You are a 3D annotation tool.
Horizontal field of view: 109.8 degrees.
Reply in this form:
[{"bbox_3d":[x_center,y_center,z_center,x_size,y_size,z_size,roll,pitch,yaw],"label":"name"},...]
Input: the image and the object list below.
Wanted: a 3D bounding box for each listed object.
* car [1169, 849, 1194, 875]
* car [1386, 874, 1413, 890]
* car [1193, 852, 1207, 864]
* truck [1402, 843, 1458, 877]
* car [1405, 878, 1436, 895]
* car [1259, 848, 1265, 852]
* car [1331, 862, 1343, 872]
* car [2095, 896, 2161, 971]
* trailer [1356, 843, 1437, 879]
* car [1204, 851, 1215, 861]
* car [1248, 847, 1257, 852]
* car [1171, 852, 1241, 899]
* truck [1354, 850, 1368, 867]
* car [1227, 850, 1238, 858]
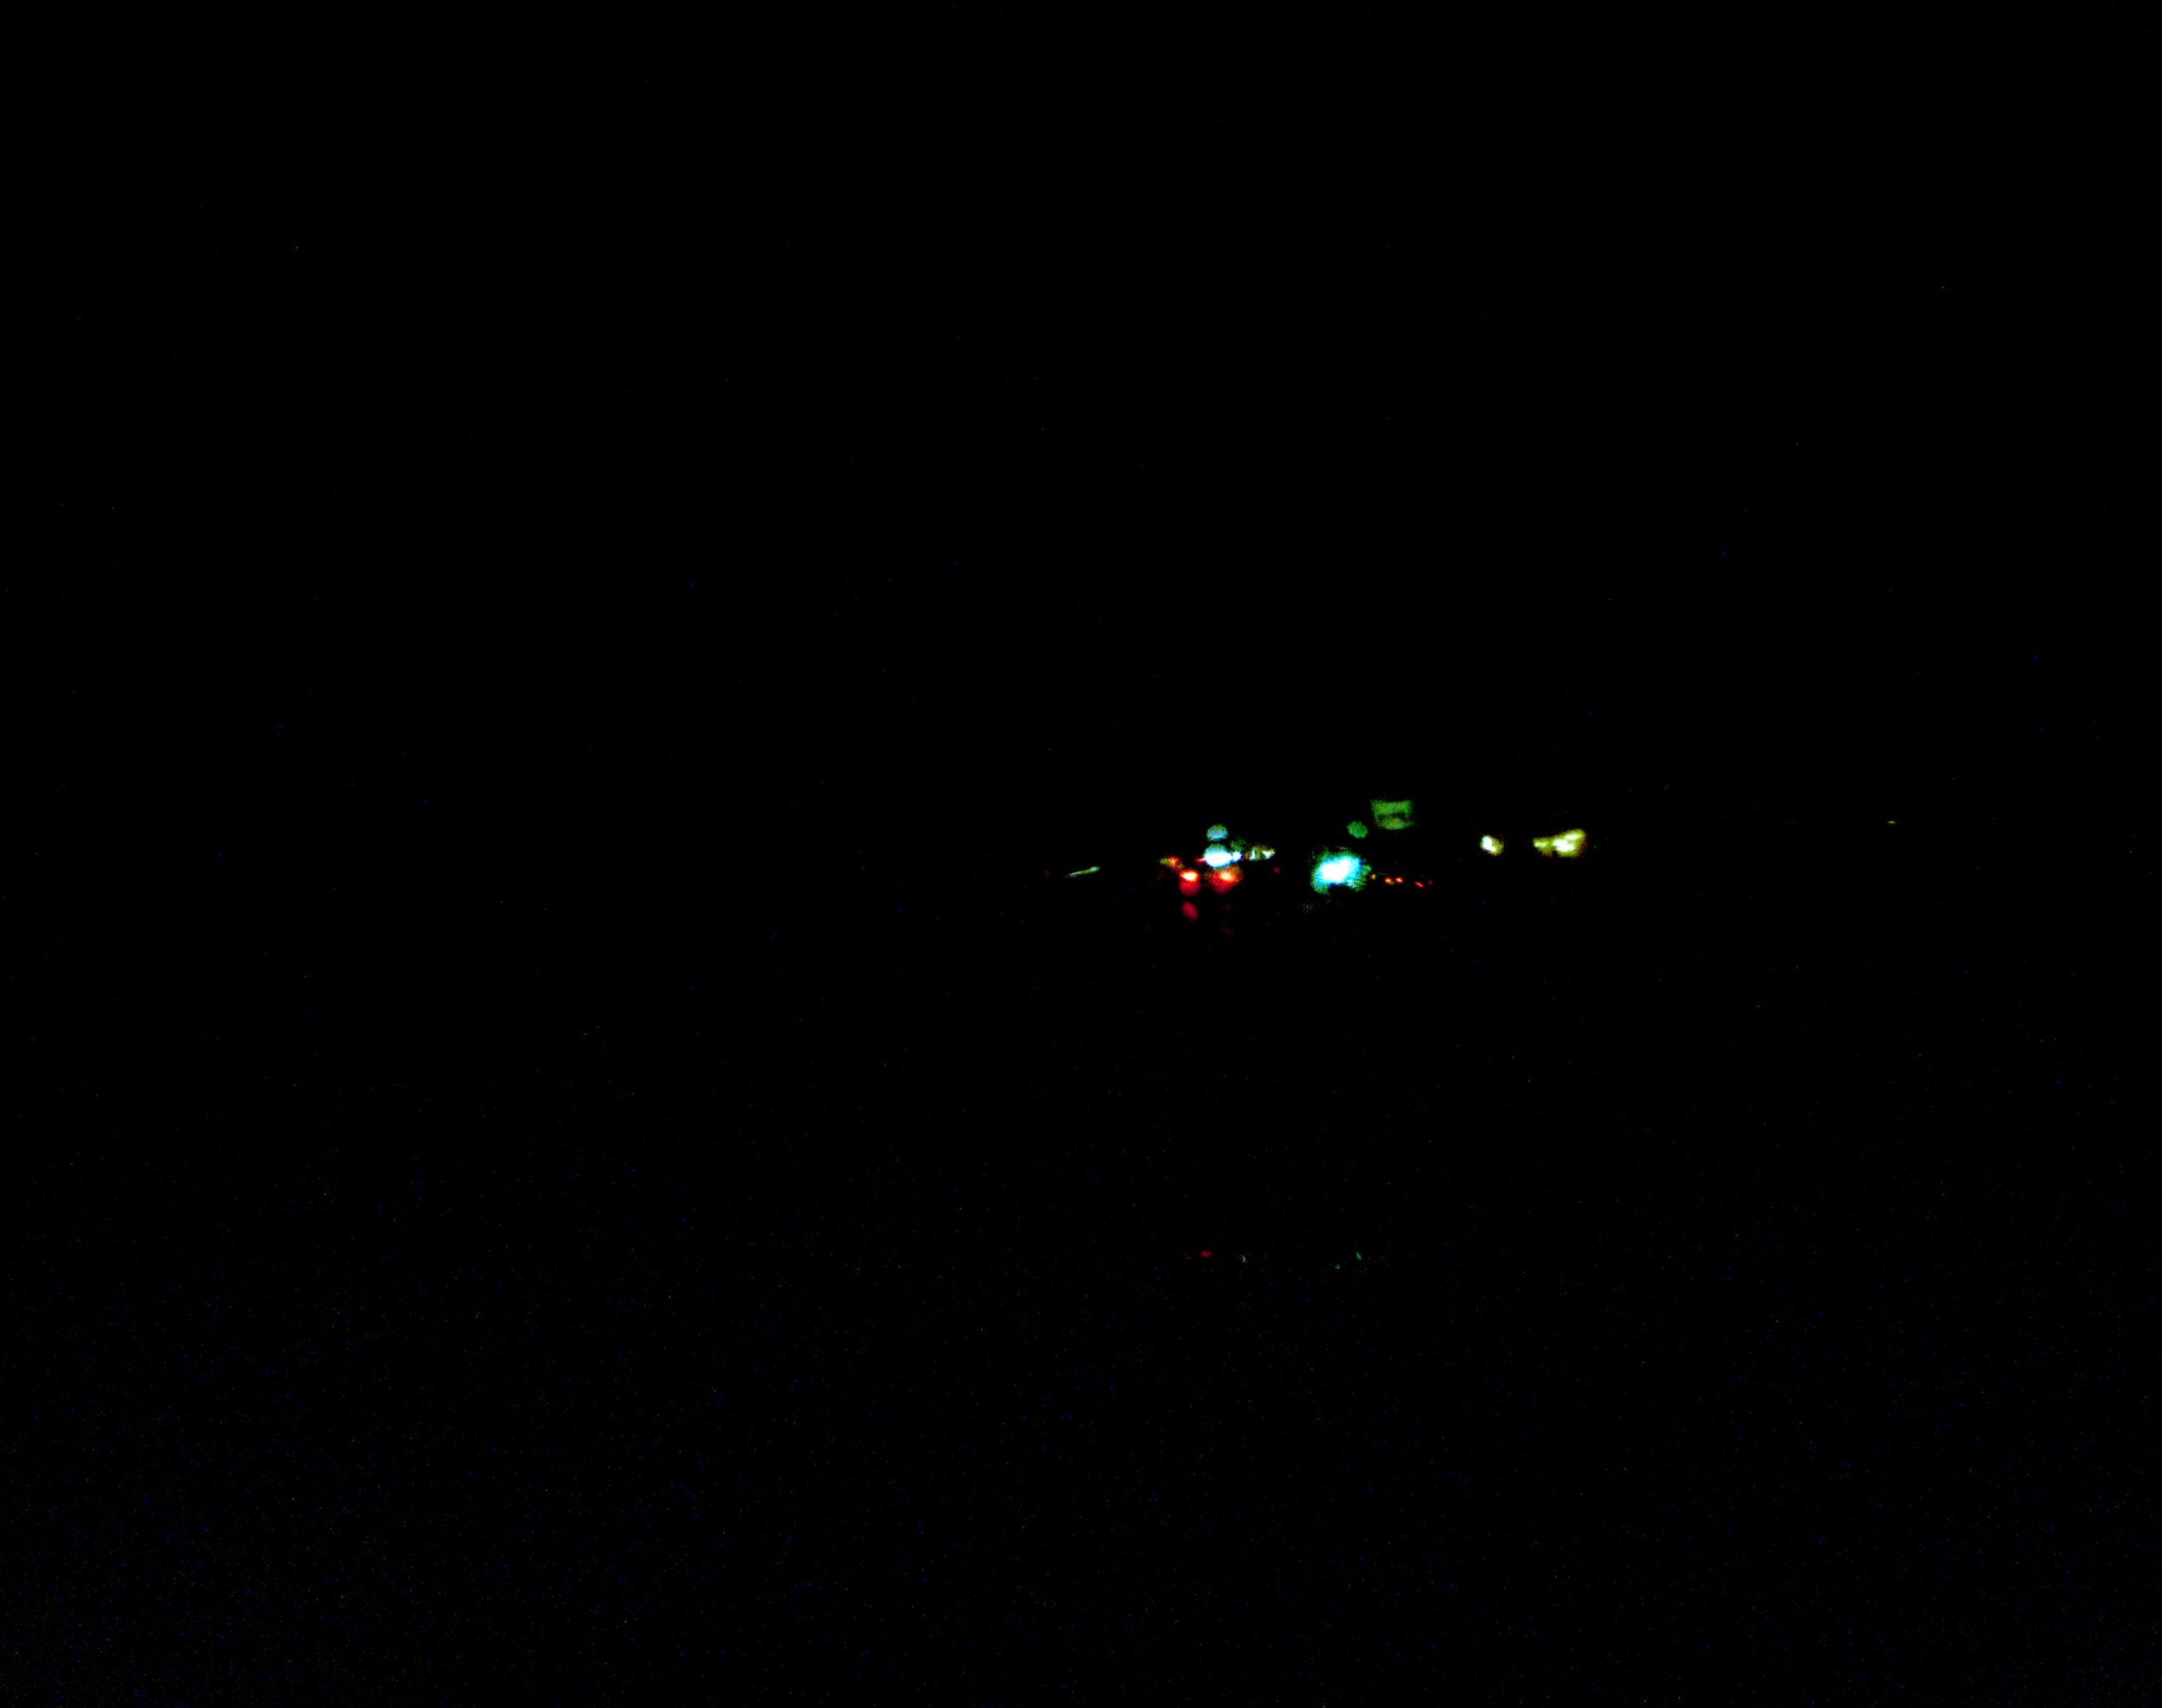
[{"bbox_3d":[8.720,0.660,66.238,1.997,2.063,4.002,-2,0,6],"label":"car"},{"bbox_3d":[37.878,3.363,90.376,1.812,1.666,4.295,-2,0,7],"label":"car"},{"bbox_3d":[17.056,0.542,108.958,1.820,1.550,4.180,-2,0,9],"label":"car"},{"bbox_3d":[52.140,0.831,113.551,7.325,4.768,3.332,-2,1,-19],"label":"truck"},{"bbox_3d":[35.594,3.382,79.794,1.812,1.561,4.294,-2,0,7],"label":"car"},{"bbox_3d":[59.958,-1.302,251.540,1.637,1.511,3.776,0,1,22],"label":"car"},{"bbox_3d":[45.593,2.347,135.300,1.811,1.666,4.297,-2,0,15],"label":"car"},{"bbox_3d":[31.967,2.315,21.185,1.999,2.002,3.999,-2,0,-2],"label":"car"},{"bbox_3d":[46.412,1.031,111.626,11.564,4.768,3.332,-2,1,-19],"label":"trailer"},{"bbox_3d":[22.598,0.357,133.272,1.791,1.614,4.378,-1,2,11],"label":"car"},{"bbox_3d":[50.124,-1.286,222.111,1.787,1.470,3.686,-2,0,24],"label":"car"},{"bbox_3d":[4.683,0.744,29.099,1.998,1.604,4.612,-1,0,2],"label":"car"},{"bbox_3d":[61.079,0.869,165.630,2.759,3.462,8.117,-2,0,21],"label":"truck"},{"bbox_3d":[33.333,0.002,167.505,1.996,1.795,4.601,-2,0,16],"label":"car"}]
